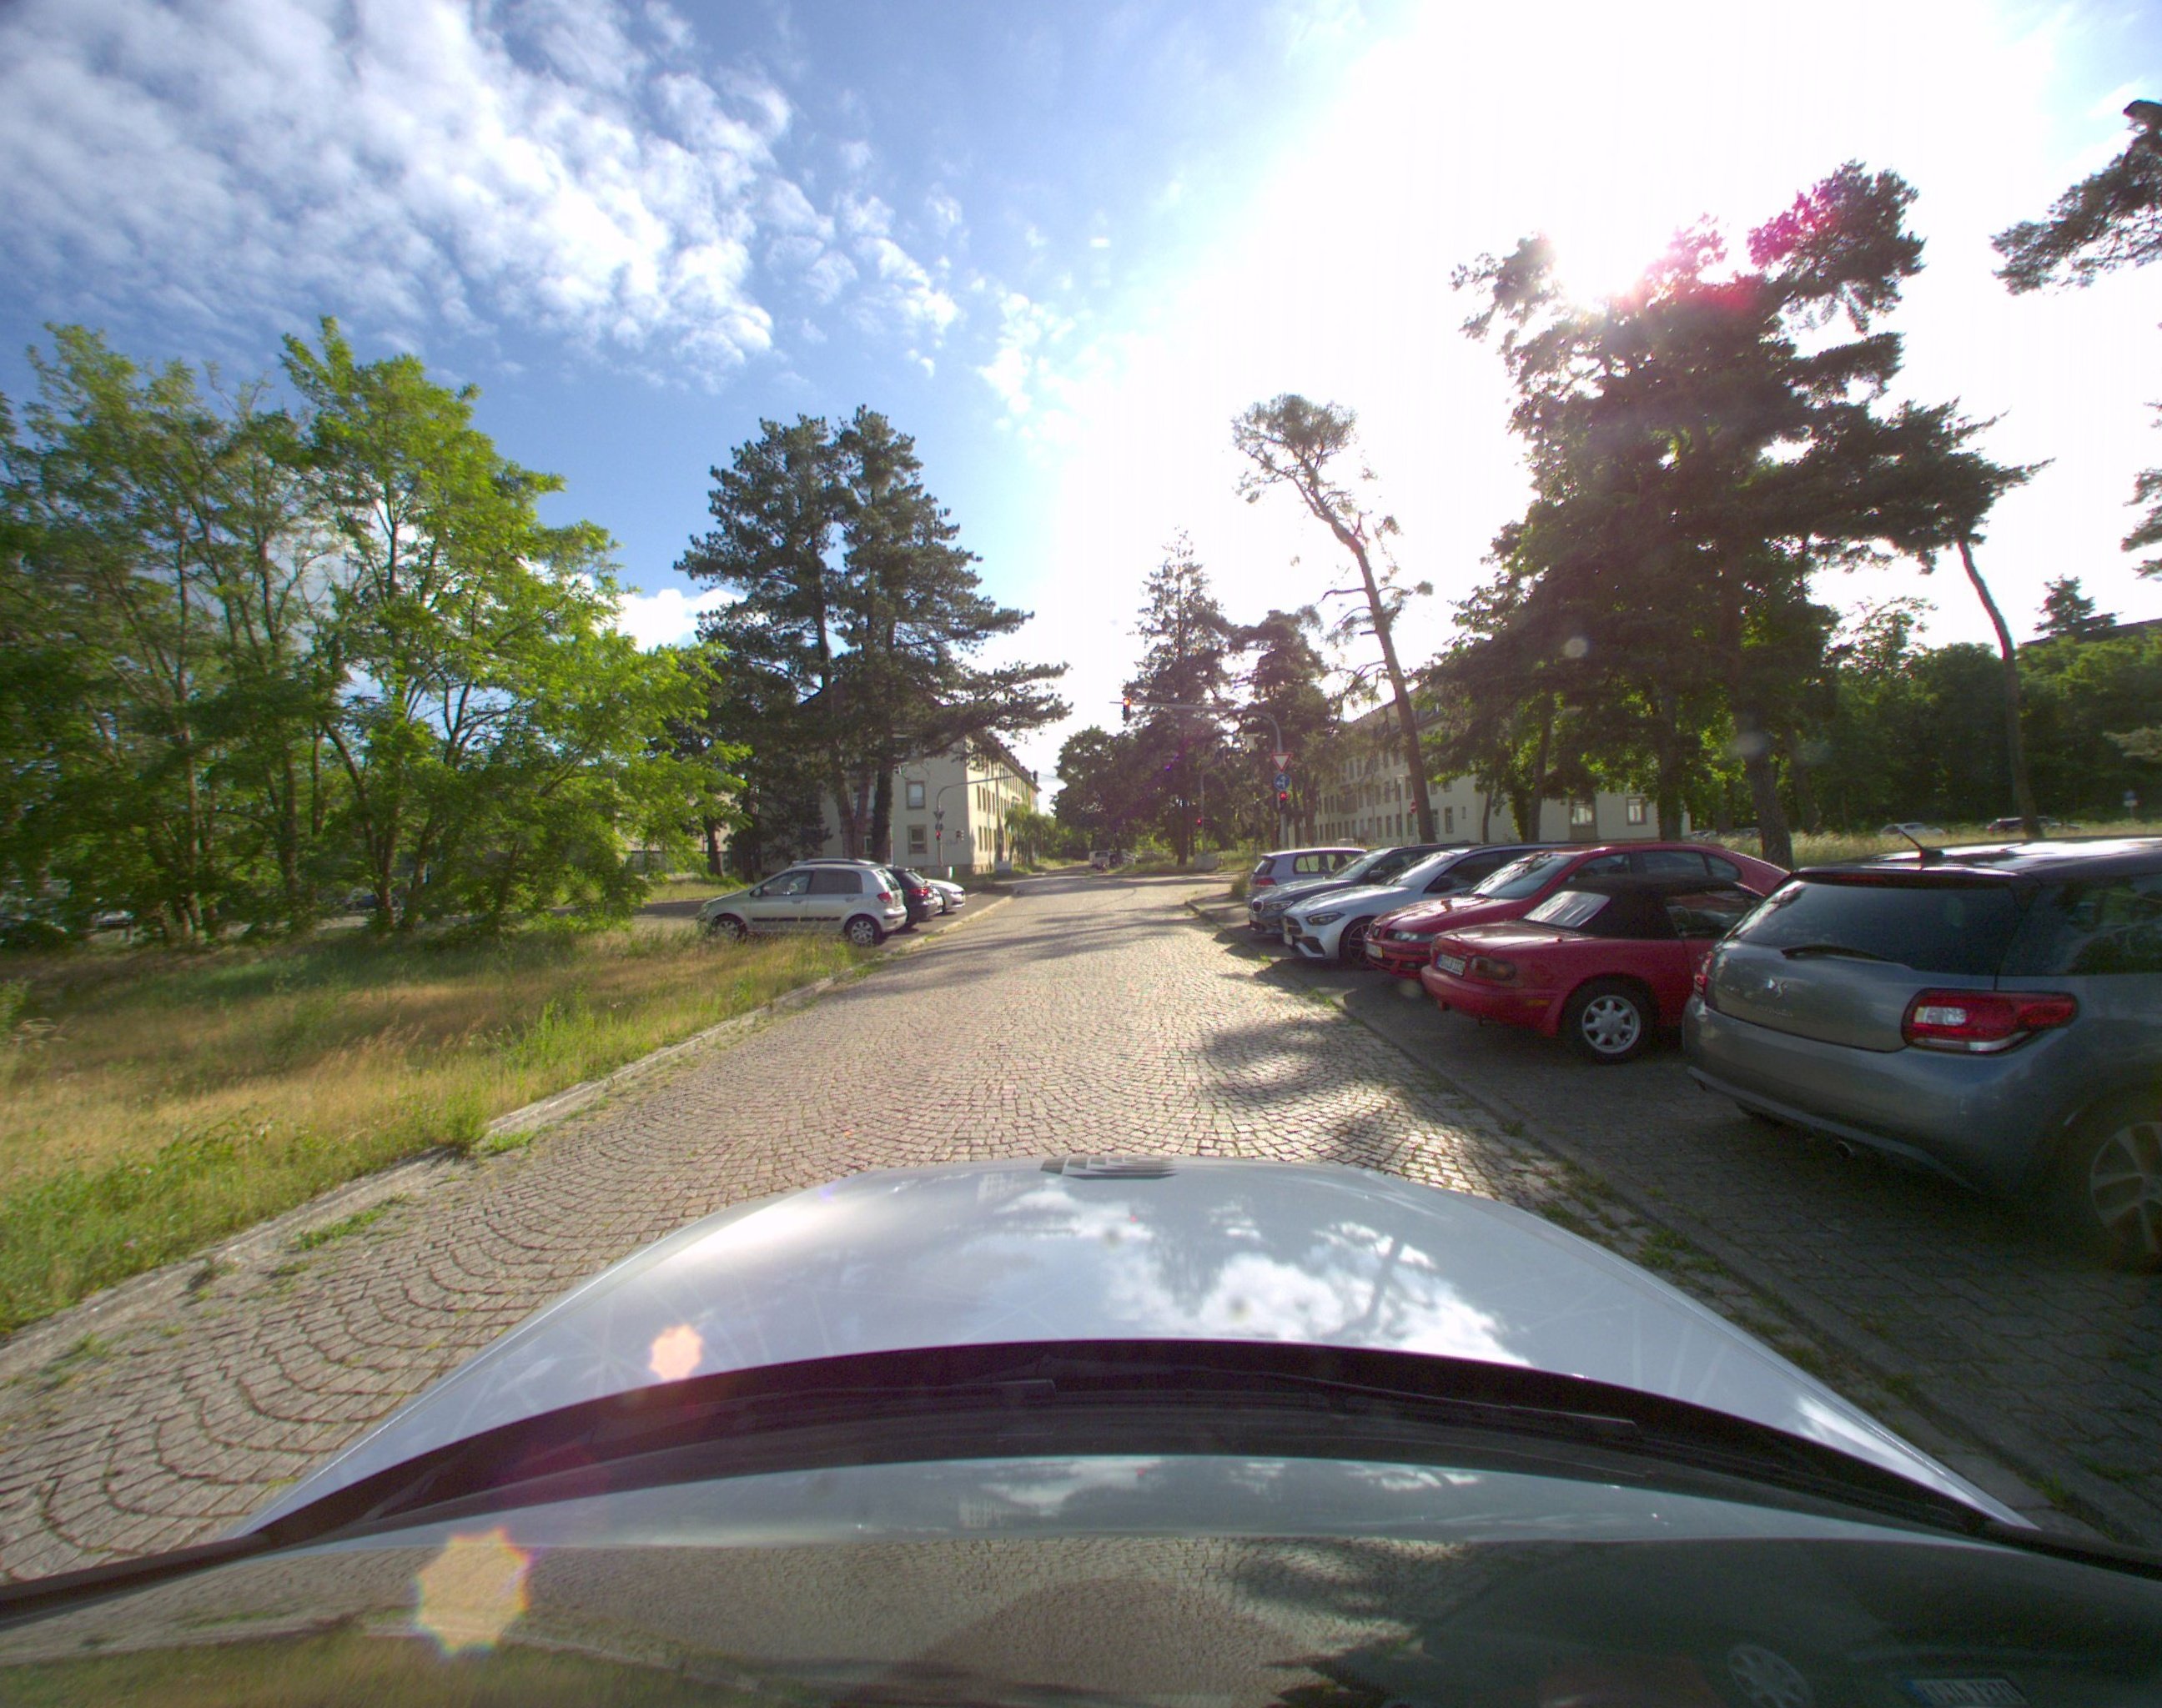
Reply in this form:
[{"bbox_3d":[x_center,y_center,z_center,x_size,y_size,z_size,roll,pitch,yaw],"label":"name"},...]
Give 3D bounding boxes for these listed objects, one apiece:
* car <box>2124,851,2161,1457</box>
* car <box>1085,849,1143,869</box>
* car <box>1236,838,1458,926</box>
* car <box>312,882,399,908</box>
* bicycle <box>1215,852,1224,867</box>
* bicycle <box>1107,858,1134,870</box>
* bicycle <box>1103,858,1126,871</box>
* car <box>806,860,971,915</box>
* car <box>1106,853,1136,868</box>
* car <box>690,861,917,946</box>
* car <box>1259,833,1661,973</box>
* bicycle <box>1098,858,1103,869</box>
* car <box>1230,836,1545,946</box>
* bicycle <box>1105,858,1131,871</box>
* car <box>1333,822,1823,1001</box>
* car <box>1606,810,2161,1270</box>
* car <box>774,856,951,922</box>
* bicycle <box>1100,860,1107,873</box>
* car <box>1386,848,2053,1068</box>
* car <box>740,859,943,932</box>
[{"bbox_3d":[4.126,0.606,0.802,3.693,1.449,1.857,-4,0,2],"label":"car"},{"bbox_3d":[3.359,0.516,83.250,5.534,2.014,1.989,0,-1,-17],"label":"car"},{"bbox_3d":[5.184,0.529,16.237,3.867,1.415,1.637,-4,0,2],"label":"car"},{"bbox_3d":[-46.838,2.622,52.708,1.895,1.433,4.002,-2,-1,2],"label":"car"},{"bbox_3d":[8.993,0.342,52.952,0.300,0.961,1.585,0,-1,-2],"label":"bicycle"},{"bbox_3d":[3.148,0.792,65.180,2.106,1.010,0.619,0,-1,-6],"label":"bicycle"},{"bbox_3d":[2.840,0.880,68.656,1.835,1.010,0.634,0,-1,-6],"label":"bicycle"},{"bbox_3d":[-5.451,0.921,23.456,4.321,1.468,1.829,0,0,-2],"label":"car"},{"bbox_3d":[3.924,0.632,79.648,2.775,1.467,1.669,0,-1,-3],"label":"car"},{"bbox_3d":[-5.163,0.896,15.506,3.736,1.487,1.645,0,0,-2],"label":"car"},{"bbox_3d":[4.768,0.587,10.747,4.415,1.415,1.782,-4,0,2],"label":"car"},{"bbox_3d":[1.812,0.906,74.868,0.415,1.010,1.484,0,-1,2],"label":"bicycle"},{"bbox_3d":[4.898,0.569,13.462,4.542,1.415,1.637,-4,0,2],"label":"car"},{"bbox_3d":[3.036,0.863,66.895,2.002,1.010,0.631,0,-1,-6],"label":"bicycle"},{"bbox_3d":[4.999,0.545,8.620,4.111,1.449,1.637,-4,0,2],"label":"car"},{"bbox_3d":[4.822,0.568,3.657,3.693,1.449,1.817,-4,0,1],"label":"car"},{"bbox_3d":[-5.562,0.866,21.110,4.069,1.593,1.884,0,0,-2],"label":"car"},{"bbox_3d":[1.701,0.955,61.592,0.466,1.010,1.585,0,-1,-2],"label":"bicycle"},{"bbox_3d":[4.534,0.687,6.266,3.693,1.223,1.747,-4,0,2],"label":"car"},{"bbox_3d":[-5.224,0.881,18.140,3.976,1.480,1.802,0,0,-2],"label":"car"}]
